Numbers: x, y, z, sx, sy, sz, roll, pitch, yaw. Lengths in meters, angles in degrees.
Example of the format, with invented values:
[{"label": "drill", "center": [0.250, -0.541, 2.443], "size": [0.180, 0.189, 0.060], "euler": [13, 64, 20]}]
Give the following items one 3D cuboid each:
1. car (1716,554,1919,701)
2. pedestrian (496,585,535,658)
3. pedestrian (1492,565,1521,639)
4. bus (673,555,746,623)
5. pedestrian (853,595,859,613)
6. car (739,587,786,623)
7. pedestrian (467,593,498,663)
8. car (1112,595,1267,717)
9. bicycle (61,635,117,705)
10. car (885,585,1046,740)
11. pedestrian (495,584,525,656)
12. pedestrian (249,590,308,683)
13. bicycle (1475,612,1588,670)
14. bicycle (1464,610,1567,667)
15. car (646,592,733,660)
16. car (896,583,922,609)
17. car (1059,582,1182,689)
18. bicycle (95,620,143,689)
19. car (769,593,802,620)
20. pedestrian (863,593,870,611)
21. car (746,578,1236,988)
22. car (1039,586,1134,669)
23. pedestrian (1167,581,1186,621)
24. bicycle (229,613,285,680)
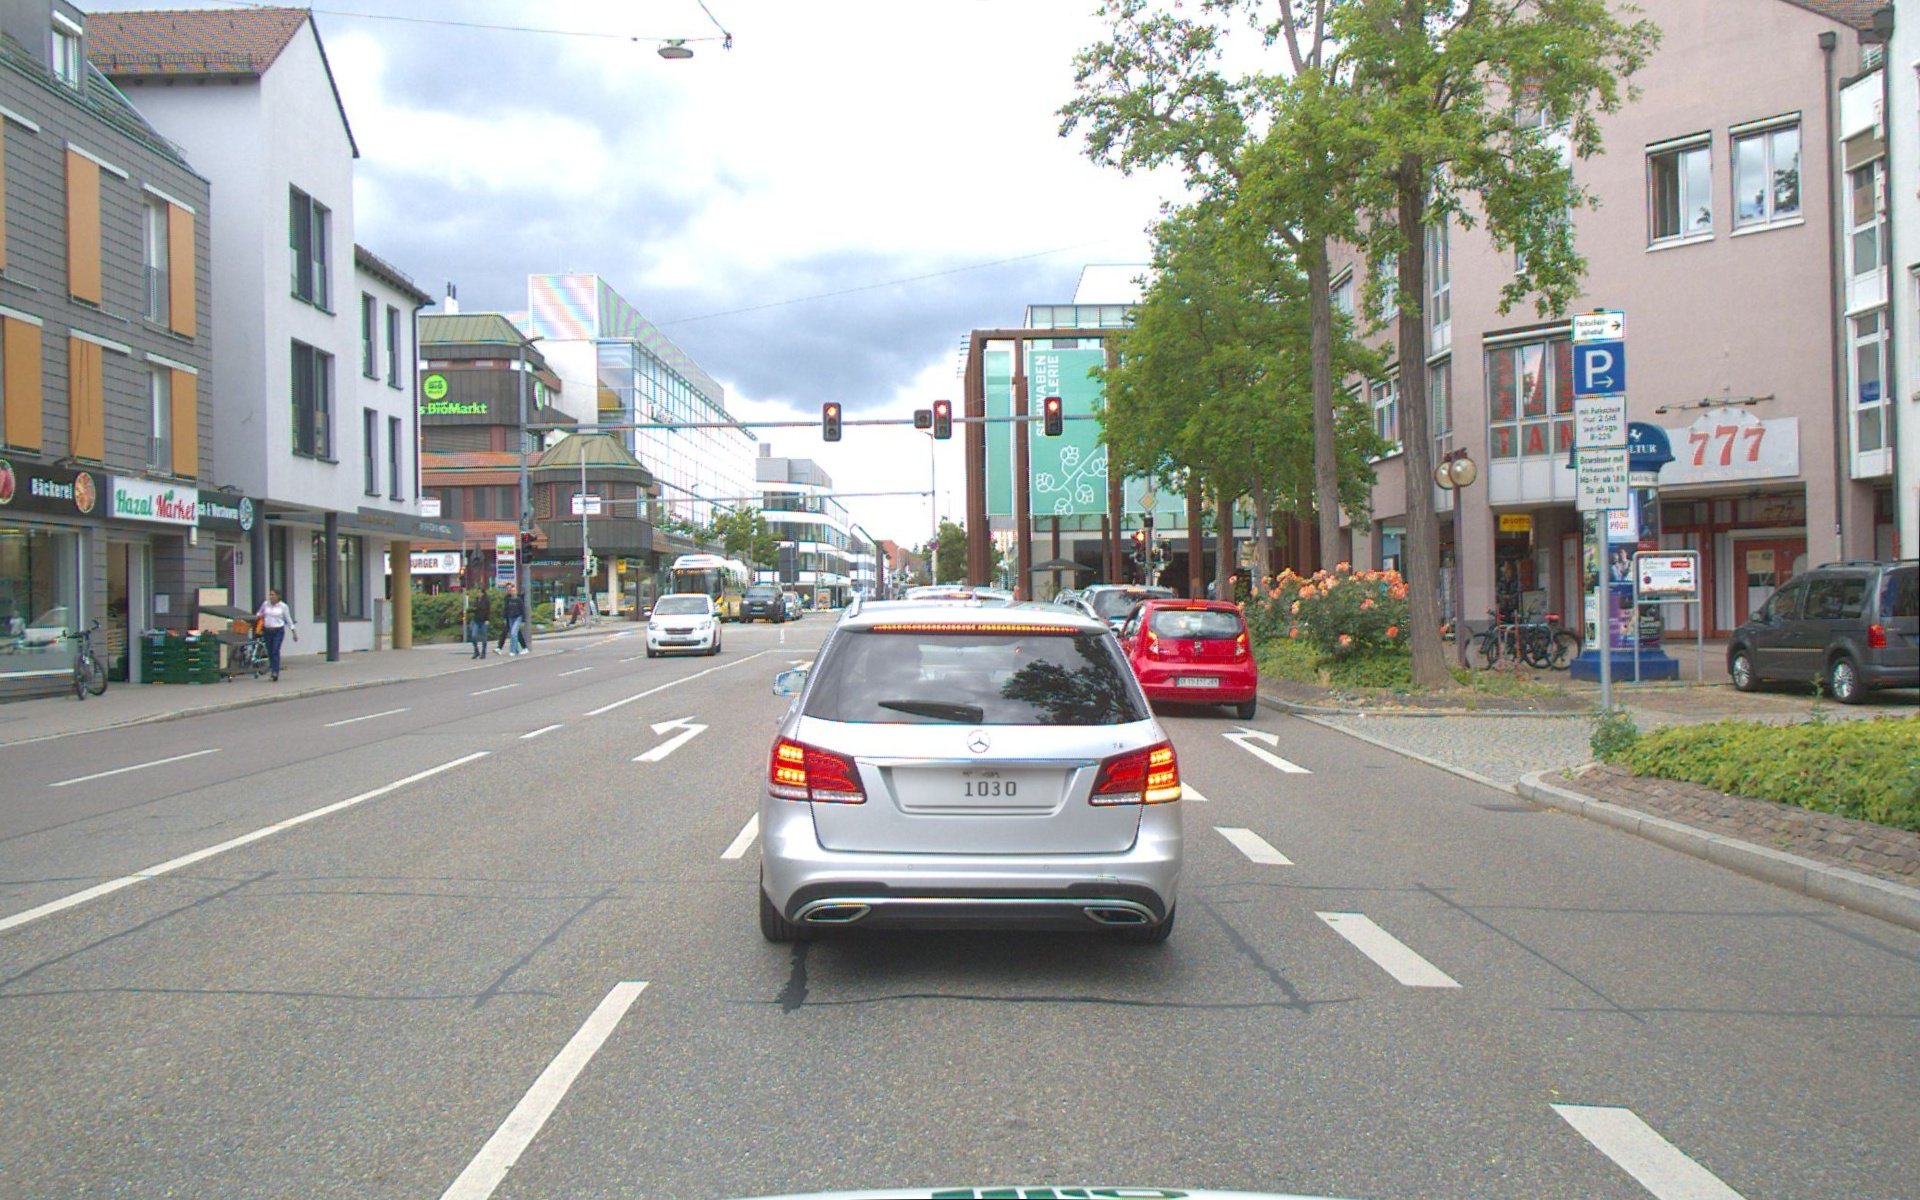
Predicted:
[{"label": "car", "center": [12.487, 0.316, 23.267], "size": [1.605, 1.863, 3.963], "euler": [-2, 1, -5]}, {"label": "pedestrian", "center": [-11.177, 0.540, 41.583], "size": [0.671, 1.821, 0.645], "euler": [-1, 0, 41]}, {"label": "pedestrian", "center": [13.764, 0.049, 41.617], "size": [0.637, 1.866, 0.610], "euler": [-1, 0, 22]}, {"label": "bus", "center": [-12.818, -0.555, 85.270], "size": [2.632, 3.318, 8.650], "euler": [-1, 0, -2]}, {"label": "pedestrian", "center": [-10.297, 0.425, 164.106], "size": [0.508, 1.764, 0.489], "euler": [-1, 0, 12]}, {"label": "car", "center": [-9.831, 0.216, 82.563], "size": [1.953, 1.735, 4.063], "euler": [-1, 0, -2]}, {"label": "pedestrian", "center": [-11.556, 0.664, 40.033], "size": [0.640, 1.679, 0.558], "euler": [-1, 0, -12]}, {"label": "car", "center": [2.977, 0.683, 21.993], "size": [1.554, 1.468, 3.348], "euler": [1, 0, -1]}, {"label": "bicycle", "center": [-12.985, 1.032, 24.694], "size": [0.320, 0.970, 1.479], "euler": [-1, 0, -11]}, {"label": "car", "center": [0.039, 0.620, 18.316], "size": [1.606, 1.554, 3.393], "euler": [0, 0, -1]}, {"label": "pedestrian", "center": [-11.570, 0.508, 42.538], "size": [0.637, 1.806, 0.566], "euler": [-1, 0, -26]}, {"label": "pedestrian", "center": [-12.233, 0.639, 29.703], "size": [0.713, 1.638, 0.753], "euler": [-1, 0, -1]}, {"label": "bicycle", "center": [10.367, 0.737, 30.031], "size": [1.861, 1.014, 0.468], "euler": [-1, 0, 3]}, {"label": "bicycle", "center": [10.264, 0.713, 30.585], "size": [1.731, 1.014, 0.447], "euler": [-1, 0, 3]}, {"label": "car", "center": [-6.496, 0.583, 40.004], "size": [1.542, 1.514, 3.463], "euler": [-2, 0, -1]}, {"label": "car", "center": [-3.928, -0.319, 127.908], "size": [1.953, 1.983, 4.949], "euler": [-1, 0, -2]}, {"label": "car", "center": [2.648, 0.547, 28.046], "size": [1.555, 1.662, 3.915], "euler": [1, 0, -2]}, {"label": "bicycle", "center": [-14.739, 0.940, 28.995], "size": [0.379, 1.147, 1.286], "euler": [-1, 0, -11]}, {"label": "car", "center": [-9.454, 0.330, 89.918], "size": [1.524, 1.417, 3.287], "euler": [-1, 0, -2]}, {"label": "pedestrian", "center": [-9.279, 0.177, 164.713], "size": [0.508, 1.764, 0.489], "euler": [-1, 0, 16]}, {"label": "car", "center": [0.104, 0.672, 8.270], "size": [1.778, 1.474, 4.369], "euler": [1, 0, 0]}, {"label": "car", "center": [2.622, 0.531, 34.915], "size": [1.555, 1.623, 3.866], "euler": [1, 0, -2]}, {"label": "pedestrian", "center": [9.238, 0.029, 70.686], "size": [0.641, 1.679, 0.557], "euler": [-1, 0, -15]}, {"label": "bicycle", "center": [-13.385, 0.865, 31.543], "size": [0.378, 1.207, 1.825], "euler": [-1, 0, -4]}]
